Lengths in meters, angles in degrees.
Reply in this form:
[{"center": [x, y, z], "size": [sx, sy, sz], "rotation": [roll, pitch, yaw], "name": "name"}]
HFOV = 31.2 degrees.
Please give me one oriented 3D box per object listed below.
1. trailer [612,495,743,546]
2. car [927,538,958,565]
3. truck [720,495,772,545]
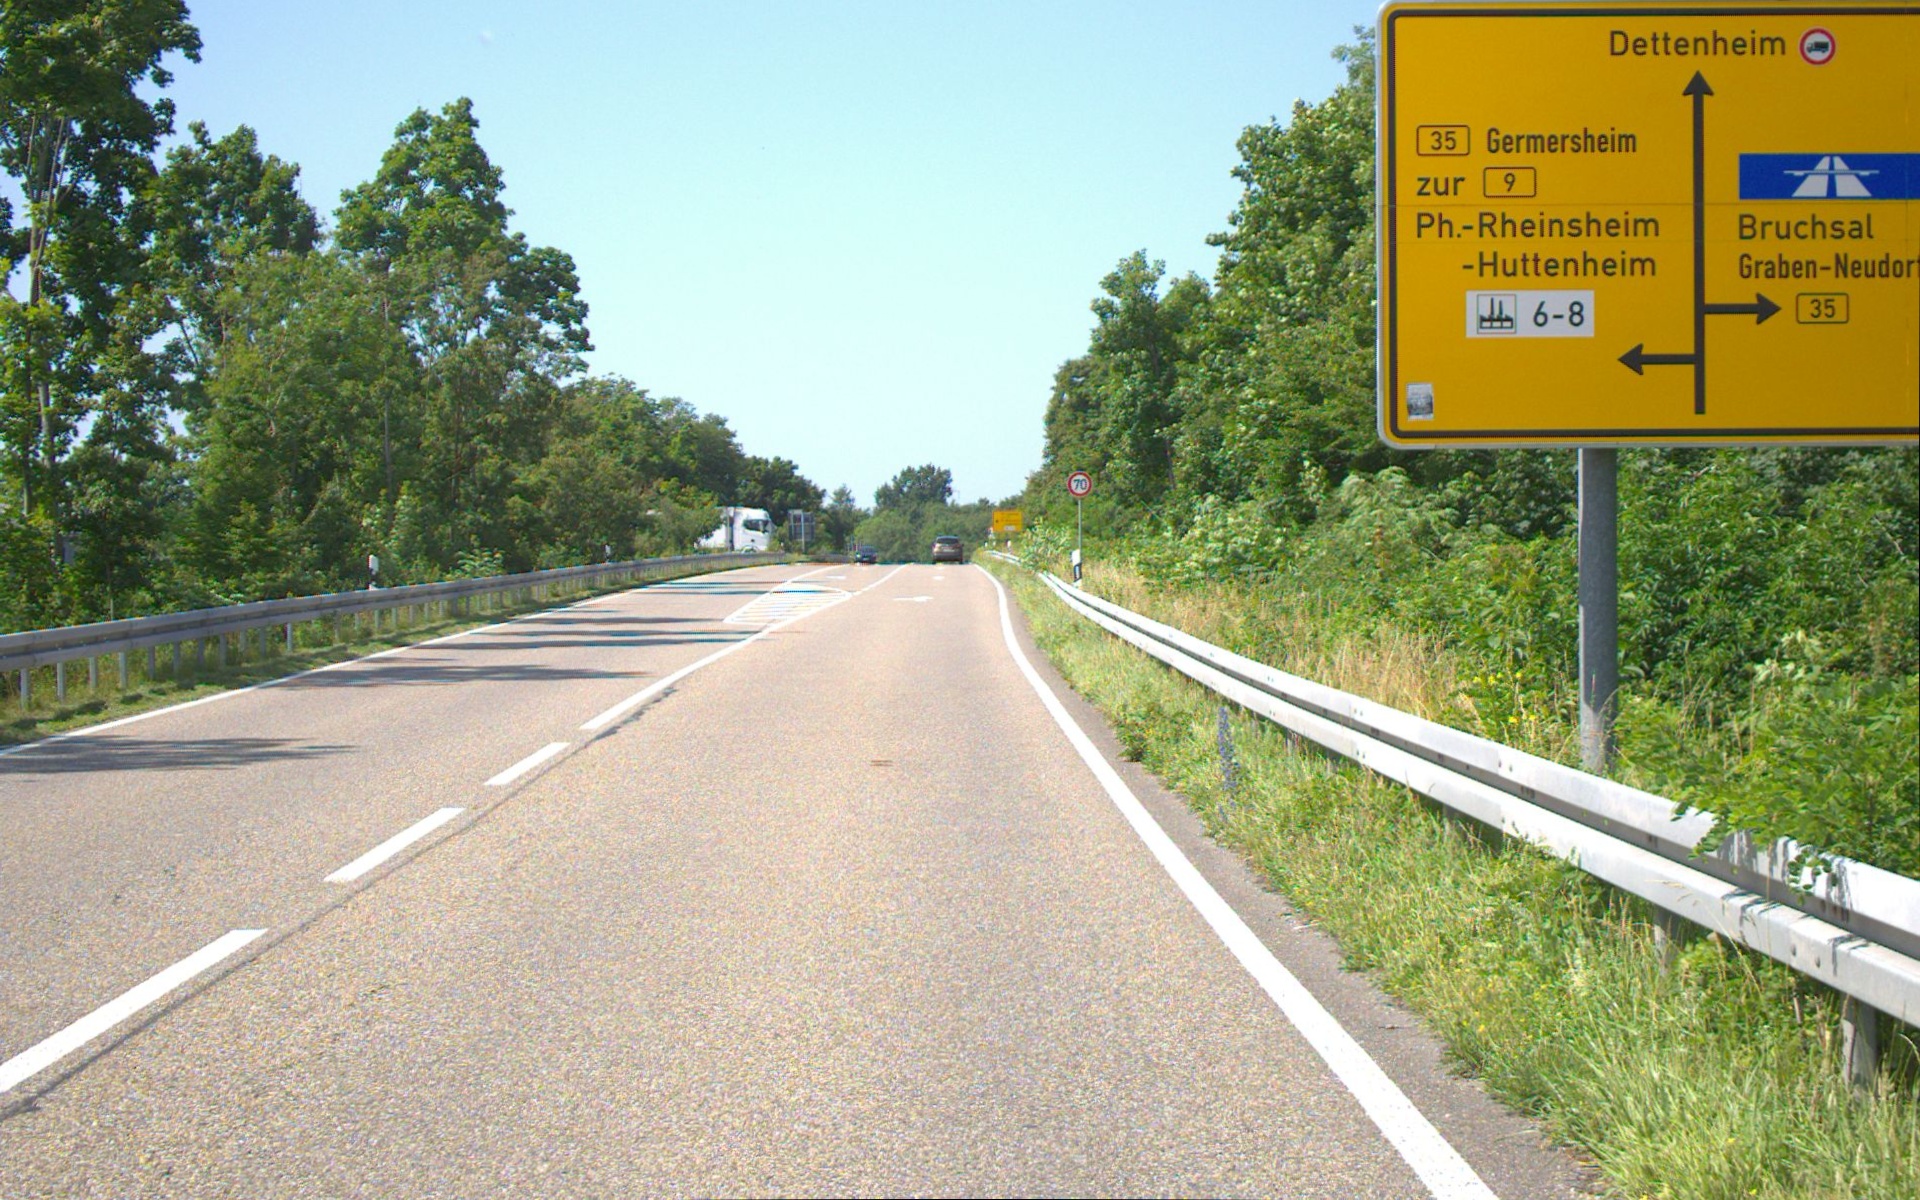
[{"center": [-20.079, -5.662, 244.199], "size": [9.102, 3.566, 2.000], "rotation": [0, 1, 2], "name": "trailer"}, {"center": [-0.993, -2.727, 193.985], "size": [1.741, 1.465, 3.693], "rotation": [0, 1, 0], "name": "car"}, {"center": [-15.176, -5.679, 244.020], "size": [3.465, 3.525, 2.000], "rotation": [0, 1, 2], "name": "truck"}]
